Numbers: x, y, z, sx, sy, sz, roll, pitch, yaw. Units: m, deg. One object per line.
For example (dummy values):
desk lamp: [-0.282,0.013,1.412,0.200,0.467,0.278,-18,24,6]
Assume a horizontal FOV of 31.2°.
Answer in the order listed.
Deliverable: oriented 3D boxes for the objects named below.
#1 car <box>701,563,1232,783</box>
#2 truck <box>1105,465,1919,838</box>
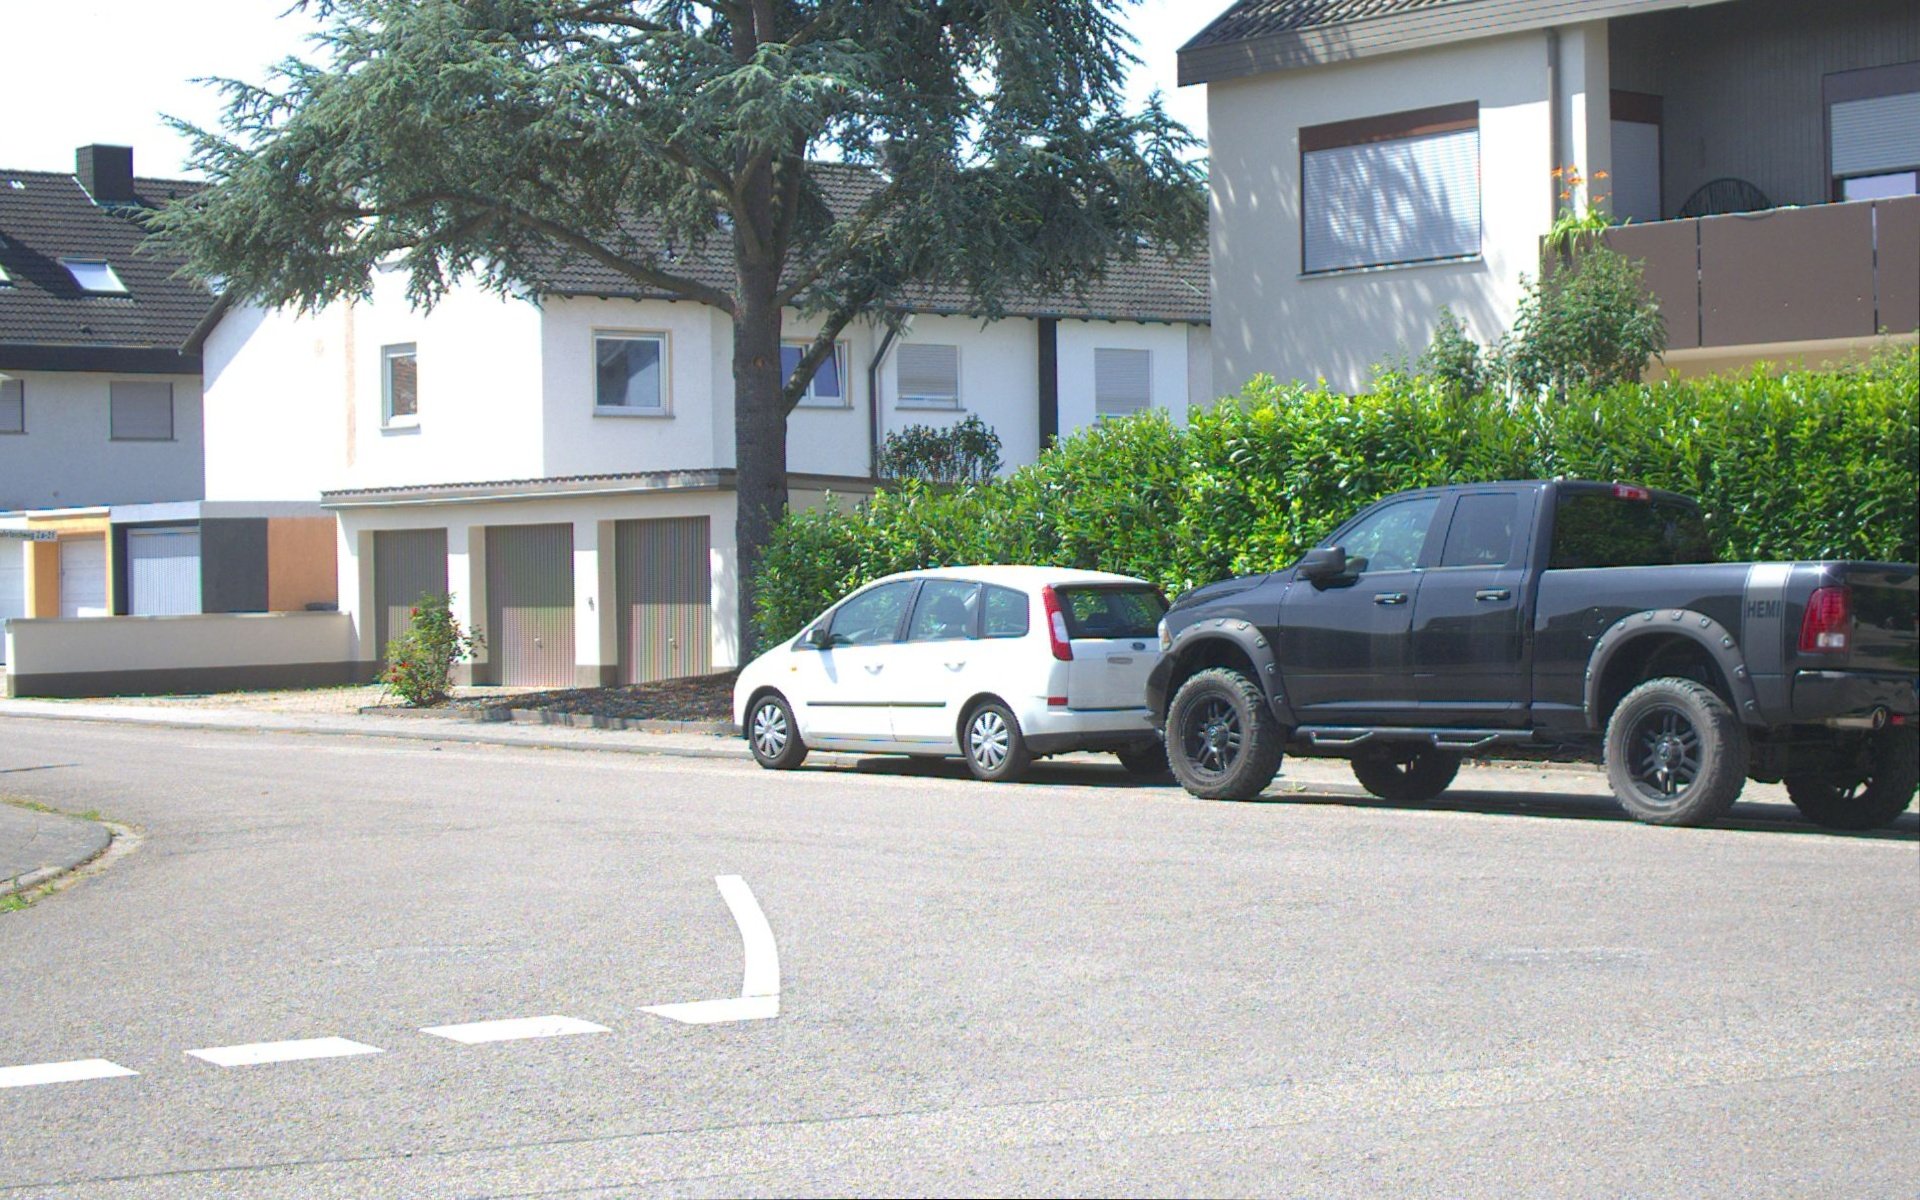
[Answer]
car: [-0.025,0.514,26.663,1.798,1.558,4.141,-1,1,-42]
truck: [3.769,0.313,21.422,2.365,2.007,5.709,2,-1,-43]
